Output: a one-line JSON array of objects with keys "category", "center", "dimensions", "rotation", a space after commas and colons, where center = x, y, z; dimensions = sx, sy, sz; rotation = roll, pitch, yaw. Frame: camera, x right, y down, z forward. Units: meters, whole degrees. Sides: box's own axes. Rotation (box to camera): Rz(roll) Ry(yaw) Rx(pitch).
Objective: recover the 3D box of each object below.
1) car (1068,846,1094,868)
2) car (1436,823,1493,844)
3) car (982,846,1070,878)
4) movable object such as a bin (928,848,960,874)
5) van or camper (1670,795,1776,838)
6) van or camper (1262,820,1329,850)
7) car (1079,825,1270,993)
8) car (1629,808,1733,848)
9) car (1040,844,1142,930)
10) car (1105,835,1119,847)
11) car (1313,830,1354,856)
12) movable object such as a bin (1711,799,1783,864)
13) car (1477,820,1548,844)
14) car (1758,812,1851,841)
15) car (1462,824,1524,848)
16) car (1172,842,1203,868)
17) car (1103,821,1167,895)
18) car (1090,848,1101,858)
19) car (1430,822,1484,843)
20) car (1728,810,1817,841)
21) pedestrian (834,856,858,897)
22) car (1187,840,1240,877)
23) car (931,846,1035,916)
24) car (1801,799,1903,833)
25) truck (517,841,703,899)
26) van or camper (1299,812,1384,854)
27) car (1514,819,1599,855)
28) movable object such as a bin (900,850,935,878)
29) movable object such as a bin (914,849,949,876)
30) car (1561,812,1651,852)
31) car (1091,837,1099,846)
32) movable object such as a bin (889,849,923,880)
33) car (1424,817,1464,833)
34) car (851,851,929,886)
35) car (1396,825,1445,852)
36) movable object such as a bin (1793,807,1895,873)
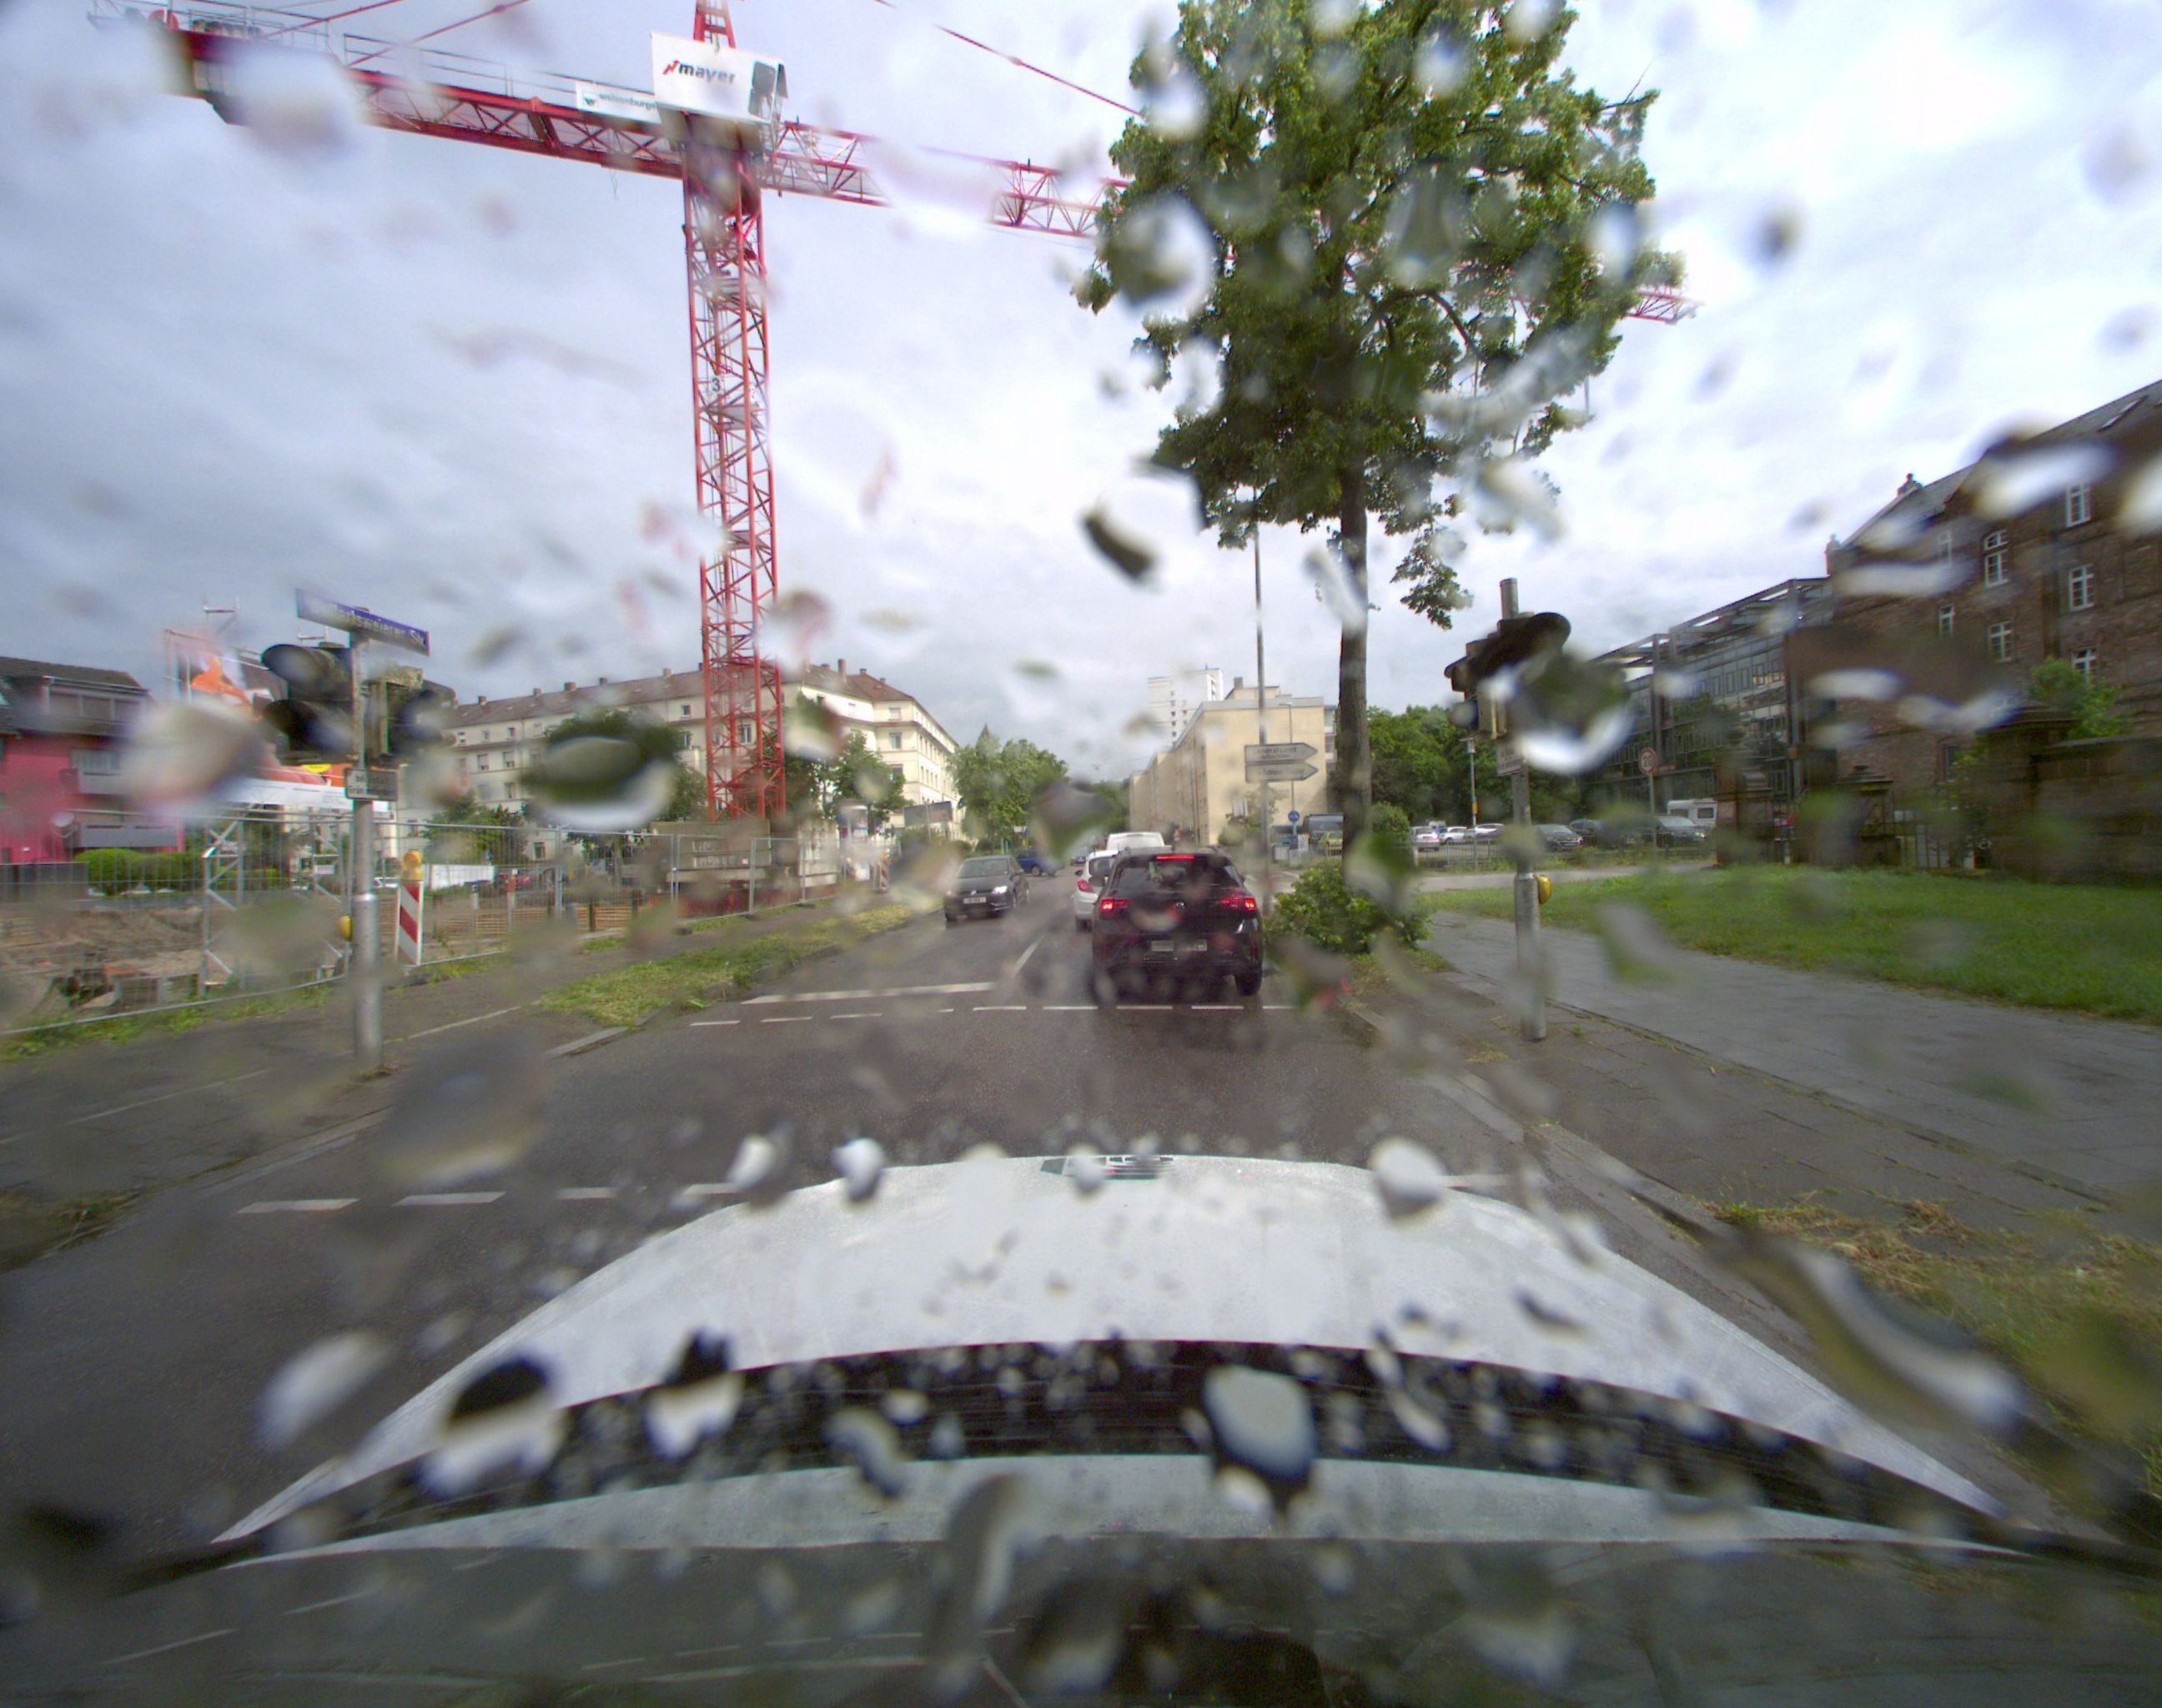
[{"category": "car", "center": [0.042, 0.220, 67.745], "dimensions": [1.833, 1.607, 4.004], "rotation": [-4, 0, 3]}, {"category": "car", "center": [30.170, -1.604, 64.123], "dimensions": [3.649, 1.486, 1.642], "rotation": [-3, 0, 5]}, {"category": "car", "center": [-3.037, 0.455, 44.693], "dimensions": [4.394, 1.585, 1.831], "rotation": [-2, 1, 21]}, {"category": "movable object such as a bin", "center": [-9.373, 0.474, 55.647], "dimensions": [1.524, 1.661, 1.466], "rotation": [-3, 1, 21]}, {"category": "van or camper", "center": [39.707, -2.303, 50.467], "dimensions": [4.768, 2.486, 2.259], "rotation": [-1, 0, 1]}, {"category": "van or camper", "center": [16.988, -1.493, 64.710], "dimensions": [4.736, 2.131, 2.325], "rotation": [-2, 1, 5]}, {"category": "car", "center": [0.996, 0.549, 10.073], "dimensions": [1.866, 1.645, 4.064], "rotation": [-1, 0, 2]}, {"category": "car", "center": [28.249, -1.173, 38.564], "dimensions": [1.845, 1.679, 4.429], "rotation": [-3, 0, 4]}, {"category": "car", "center": [0.250, 0.598, 16.506], "dimensions": [1.806, 1.503, 4.002], "rotation": [-1, 0, 2]}, {"category": "car", "center": [4.528, -1.872, 118.956], "dimensions": [1.833, 1.607, 3.679], "rotation": [-4, 0, 3]}, {"category": "car", "center": [15.662, -0.668, 50.648], "dimensions": [1.603, 1.448, 3.421], "rotation": [-3, 0, 4]}, {"category": "movable object such as a bin", "center": [15.857, -0.537, 19.420], "dimensions": [0.796, 1.457, 1.098], "rotation": [-4, 1, 3]}, {"category": "car", "center": [29.847, -1.505, 56.384], "dimensions": [3.957, 1.465, 1.674], "rotation": [-3, 0, 3]}, {"category": "car", "center": [40.466, -1.545, 45.632], "dimensions": [3.650, 1.486, 1.674], "rotation": [-1, 0, 3]}, {"category": "car", "center": [29.720, -1.289, 58.831], "dimensions": [3.649, 1.486, 1.642], "rotation": [-3, 0, 5]}, {"category": "car", "center": [6.606, 0.095, 50.847], "dimensions": [1.748, 1.528, 4.006], "rotation": [1, -1, 6]}, {"category": "car", "center": [1.680, 0.133, 25.219], "dimensions": [1.828, 2.103, 4.004], "rotation": [-1, 0, 4]}, {"category": "car", "center": [2.564, -0.159, 141.207], "dimensions": [1.733, 1.607, 3.679], "rotation": [-4, 0, 3]}, {"category": "car", "center": [30.658, -1.733, 66.435], "dimensions": [3.649, 1.486, 1.642], "rotation": [-3, 0, 5]}, {"category": "car", "center": [40.533, -1.627, 47.786], "dimensions": [3.651, 1.576, 1.674], "rotation": [-3, 0, 3]}, {"category": "pedestrian", "center": [-9.529, 0.896, 33.019], "dimensions": [0.727, 1.629, 0.677], "rotation": [0, -1, -36]}, {"category": "car", "center": [6.328, 0.189, 39.325], "dimensions": [1.768, 1.539, 4.378], "rotation": [-5, 1, 1]}, {"category": "car", "center": [-2.328, 0.612, 20.379], "dimensions": [1.805, 1.540, 3.986], "rotation": [-2, 0, 4]}, {"category": "car", "center": [40.329, -1.966, 42.661], "dimensions": [3.651, 1.524, 1.674], "rotation": [-3, 0, 3]}, {"category": "truck", "center": [-28.728, 0.943, 49.813], "dimensions": [9.743, 3.184, 3.807], "rotation": [-1, 1, 13]}, {"category": "van or camper", "center": [17.285, -1.376, 54.281], "dimensions": [4.977, 2.554, 2.177], "rotation": [-2, -1, 3]}, {"category": "car", "center": [22.412, -0.795, 38.595], "dimensions": [1.819, 1.527, 4.432], "rotation": [-3, 0, 7]}, {"category": "movable object such as a bin", "center": [-10.529, 0.617, 52.597], "dimensions": [1.524, 1.656, 1.536], "rotation": [-3, 1, 21]}, {"category": "movable object such as a bin", "center": [-9.935, 0.556, 54.144], "dimensions": [1.524, 1.674, 1.675], "rotation": [-3, 1, 21]}, {"category": "car", "center": [24.886, -1.014, 38.813], "dimensions": [1.843, 1.679, 4.433], "rotation": [-3, 0, 8]}, {"category": "car", "center": [3.065, -2.735, 181.906], "dimensions": [1.660, 1.837, 4.000], "rotation": [-3, 1, 0]}, {"category": "movable object such as a bin", "center": [-10.942, 0.646, 51.066], "dimensions": [1.524, 1.824, 1.270], "rotation": [-3, 1, 21]}, {"category": "car", "center": [35.595, -2.846, 79.825], "dimensions": [3.209, 1.397, 1.511], "rotation": [-3, 0, 5]}, {"category": "car", "center": [-10.794, 0.820, 46.311], "dimensions": [3.984, 1.637, 1.890], "rotation": [-5, -1, -7]}, {"category": "car", "center": [20.780, -0.935, 49.994], "dimensions": [1.641, 1.486, 3.724], "rotation": [-3, 0, 5]}, {"category": "movable object such as a bin", "center": [18.260, -0.334, 19.535], "dimensions": [1.101, 1.457, 1.392], "rotation": [-4, 1, 3]}]
